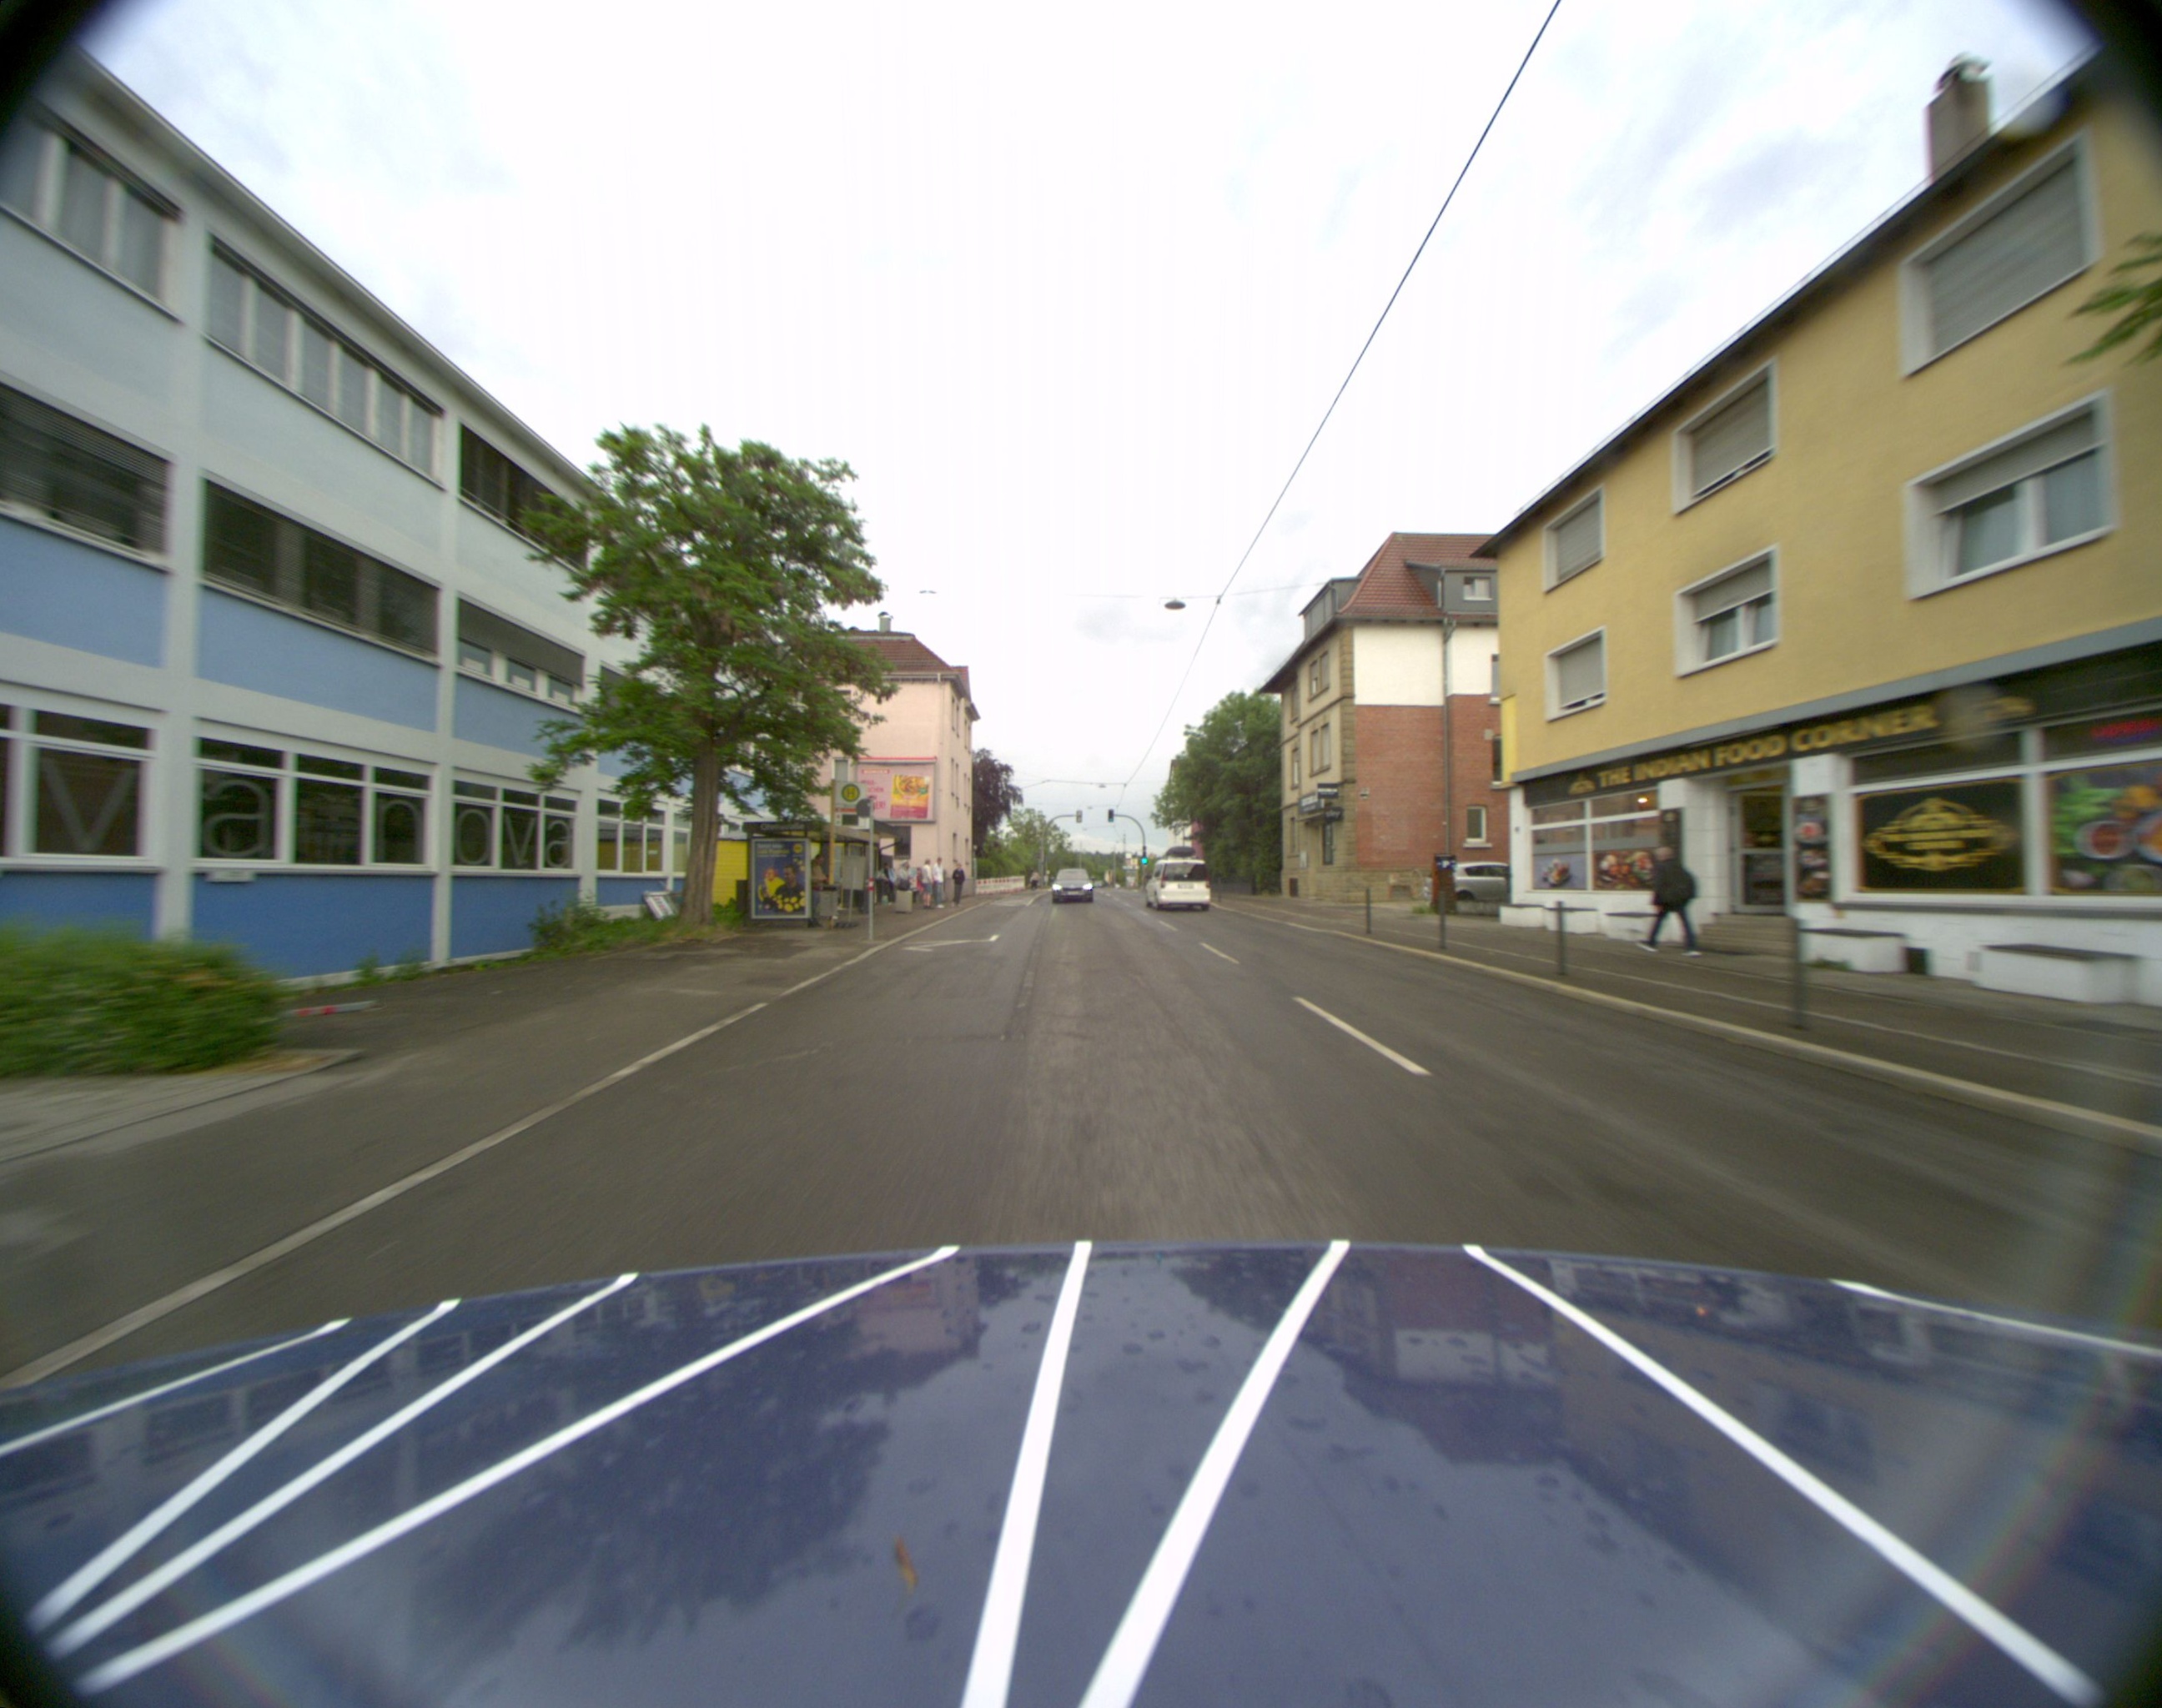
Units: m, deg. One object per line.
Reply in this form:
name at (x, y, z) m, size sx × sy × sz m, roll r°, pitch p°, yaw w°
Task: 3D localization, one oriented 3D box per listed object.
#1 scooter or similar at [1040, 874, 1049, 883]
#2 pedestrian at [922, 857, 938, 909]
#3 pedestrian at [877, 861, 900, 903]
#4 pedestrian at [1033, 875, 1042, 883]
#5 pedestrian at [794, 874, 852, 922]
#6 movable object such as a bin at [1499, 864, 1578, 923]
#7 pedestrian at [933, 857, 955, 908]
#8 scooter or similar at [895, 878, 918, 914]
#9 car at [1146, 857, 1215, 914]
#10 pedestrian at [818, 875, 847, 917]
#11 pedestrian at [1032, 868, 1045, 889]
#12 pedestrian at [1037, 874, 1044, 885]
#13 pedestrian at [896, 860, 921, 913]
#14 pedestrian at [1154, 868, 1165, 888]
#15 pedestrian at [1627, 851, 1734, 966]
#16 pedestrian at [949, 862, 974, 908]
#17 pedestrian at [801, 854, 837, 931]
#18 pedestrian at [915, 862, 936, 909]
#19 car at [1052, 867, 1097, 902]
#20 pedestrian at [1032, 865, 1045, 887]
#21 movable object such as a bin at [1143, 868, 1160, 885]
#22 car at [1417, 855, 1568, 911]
scooter or similar at (-5.201, 3.473, 108.236) m, size 1.245 × 1.307 × 0.231 m, roll 1°, pitch -2°, yaw -35°
pedestrian at (-5.425, 1.042, 27.285) m, size 0.460 × 1.829 × 0.604 m, roll 2°, pitch 0°, yaw -6°
pedestrian at (-7.589, 1.106, 29.993) m, size 0.676 × 1.616 × 0.623 m, roll 2°, pitch 0°, yaw -29°
pedestrian at (-6.692, 3.855, 117.315) m, size 1.070 × 1.321 × 0.808 m, roll 1°, pitch -2°, yaw -32°
pedestrian at (-7.043, 1.189, 20.780) m, size 1.359 × 1.266 × 0.741 m, roll 1°, pitch 0°, yaw -6°
movable object such as a bin at (11.194, 0.956, 18.629) m, size 1.305 × 1.393 × 0.983 m, roll -1°, pitch -1°, yaw -1°
pedestrian at (-5.151, 1.062, 28.585) m, size 0.486 × 1.864 × 0.634 m, roll 2°, pitch 0°, yaw 27°
scooter or similar at (-5.600, 1.336, 24.380) m, size 0.619 × 1.133 × 0.567 m, roll 1°, pitch 0°, yaw -6°
car at (3.485, 1.049, 27.385) m, size 1.887 × 1.859 × 4.453 m, roll 0°, pitch 0°, yaw 0°
pedestrian at (-7.294, 1.235, 22.312) m, size 0.662 × 1.192 × 0.741 m, roll 1°, pitch 0°, yaw -6°
pedestrian at (-3.351, 1.936, 60.168) m, size 0.877 × 1.551 × 1.049 m, roll -2°, pitch 0°, yaw 3°
pedestrian at (-5.743, 3.647, 108.169) m, size 0.922 × 1.537 × 0.543 m, roll 1°, pitch -2°, yaw -32°
pedestrian at (-5.685, 1.057, 25.056) m, size 0.662 × 1.731 × 0.829 m, roll 1°, pitch 0°, yaw -6°
pedestrian at (7.463, 2.330, 72.545) m, size 0.864 × 1.871 × 1.044 m, roll 0°, pitch -2°, yaw -2°
pedestrian at (9.178, 0.797, 11.668) m, size 0.817 × 1.669 × 0.992 m, roll -2°, pitch 1°, yaw -3°
pedestrian at (-4.588, 1.185, 29.101) m, size 0.638 × 1.700 × 0.747 m, roll 2°, pitch -1°, yaw -34°
pedestrian at (-6.279, 0.914, 18.240) m, size 0.648 × 1.820 × 0.741 m, roll 1°, pitch 0°, yaw -6°
pedestrian at (-5.736, 1.146, 27.999) m, size 0.446 × 1.698 × 0.558 m, roll 2°, pitch 0°, yaw 21°
car at (-0.220, 1.375, 34.001) m, size 1.837 × 1.429 × 4.002 m, roll -1°, pitch -3°, yaw 1°
pedestrian at (-3.221, 1.640, 57.811) m, size 0.785 × 1.632 × 1.222 m, roll -2°, pitch 0°, yaw 3°
movable object such as a bin at (13.449, 4.263, 144.722) m, size 2.828 × 3.093 × 4.640 m, roll -1°, pitch -3°, yaw 12°
car at (12.589, 0.872, 23.416) m, size 3.574 × 1.477 × 1.947 m, roll -2°, pitch -1°, yaw -2°
